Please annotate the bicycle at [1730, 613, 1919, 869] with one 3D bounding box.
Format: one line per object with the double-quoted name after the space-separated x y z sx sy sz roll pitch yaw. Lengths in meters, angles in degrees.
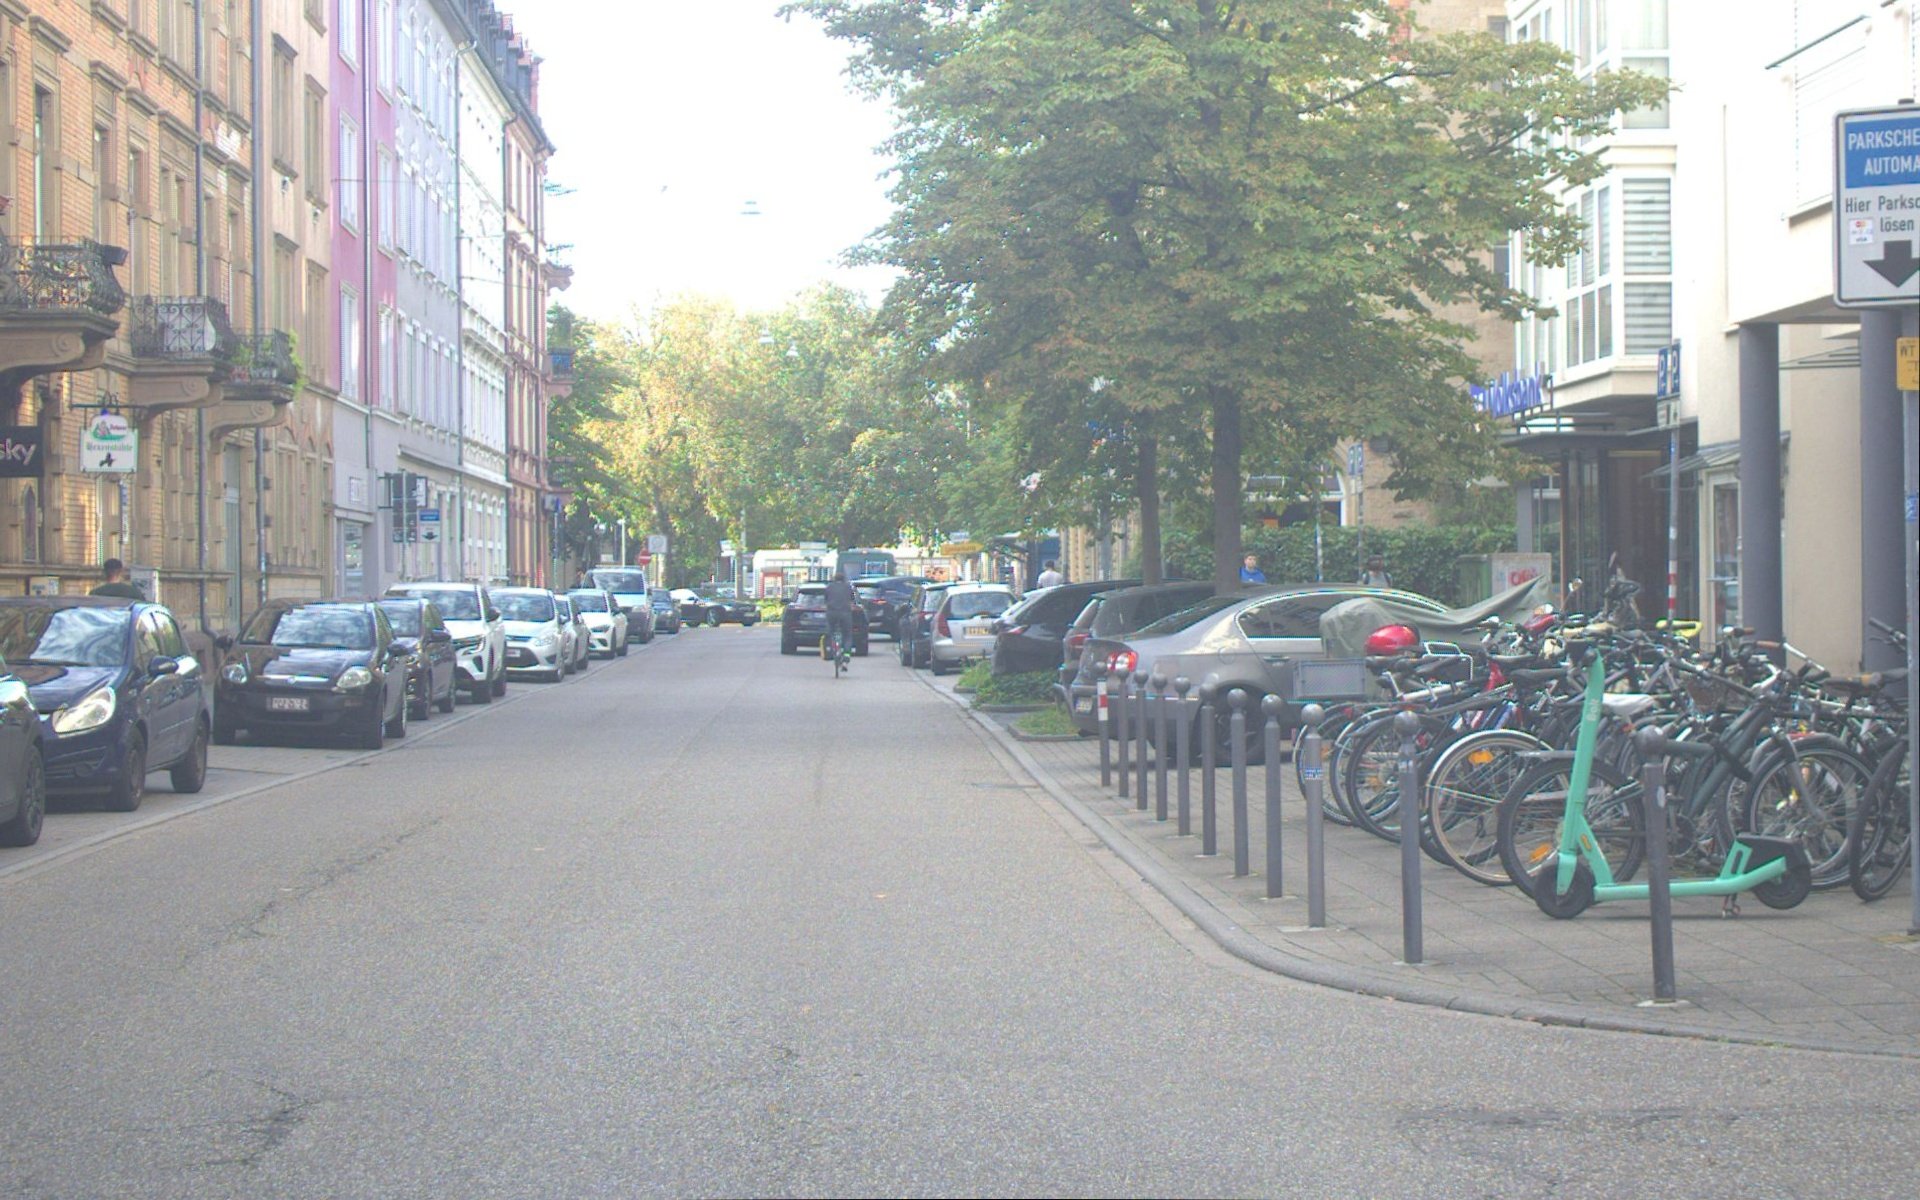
4.458 0.646 16.257 1.495 1.142 0.411 -3 1 -2 "bicycle"

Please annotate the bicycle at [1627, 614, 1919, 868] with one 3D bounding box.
4.198 0.671 16.789 1.765 1.142 0.411 -3 1 -7 "bicycle"

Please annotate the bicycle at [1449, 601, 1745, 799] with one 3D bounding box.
4.030 0.626 21.798 1.732 1.155 0.500 -3 1 0 "bicycle"

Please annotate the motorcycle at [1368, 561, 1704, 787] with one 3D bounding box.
3.951 0.501 23.705 2.150 1.430 0.765 -3 1 3 "motorcycle"

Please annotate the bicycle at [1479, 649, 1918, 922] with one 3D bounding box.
3.170 0.785 14.793 1.765 1.053 0.411 -3 1 -7 "bicycle"

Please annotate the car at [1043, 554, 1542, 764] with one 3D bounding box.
2.756 0.484 28.843 3.759 1.541 1.731 -2 0 -12 "car"

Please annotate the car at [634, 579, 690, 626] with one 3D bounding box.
-10.148 0.066 117.137 1.587 1.534 3.753 1 1 0 "car"

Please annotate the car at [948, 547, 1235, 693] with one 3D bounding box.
1.889 0.269 49.561 3.987 1.678 1.737 -3 8 2 "car"

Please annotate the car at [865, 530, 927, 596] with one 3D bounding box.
-2.012 -1.177 107.834 1.782 2.013 3.888 1 1 -3 "car"

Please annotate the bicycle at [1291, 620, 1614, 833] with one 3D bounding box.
2.904 0.740 20.364 1.794 1.155 0.500 -3 1 1 "bicycle"

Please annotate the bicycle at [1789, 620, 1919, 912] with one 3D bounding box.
4.463 0.656 14.426 1.765 1.158 0.650 -3 1 0 "bicycle"

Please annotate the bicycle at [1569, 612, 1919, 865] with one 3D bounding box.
3.956 0.679 17.285 1.765 1.142 0.411 -3 1 -22 "bicycle"

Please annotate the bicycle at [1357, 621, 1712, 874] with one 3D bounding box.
2.902 0.724 17.320 1.765 1.142 0.411 -3 1 -22 "bicycle"

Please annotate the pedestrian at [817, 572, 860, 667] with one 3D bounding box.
-2.110 0.332 60.015 0.718 1.644 0.930 1 1 -1 "pedestrian"

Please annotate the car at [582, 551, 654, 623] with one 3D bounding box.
-9.029 -0.343 90.984 1.690 1.815 3.867 1 0 -3 "car"

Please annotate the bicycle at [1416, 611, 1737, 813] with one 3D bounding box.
3.723 0.682 20.795 1.796 1.155 0.499 -2 1 24 "bicycle"

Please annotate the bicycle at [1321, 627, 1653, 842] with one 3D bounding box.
2.969 0.753 19.432 1.765 1.115 0.411 -3 1 1 "bicycle"

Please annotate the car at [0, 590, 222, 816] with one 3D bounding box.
-6.464 0.676 24.548 1.690 1.432 3.867 0 1 -2 "car"

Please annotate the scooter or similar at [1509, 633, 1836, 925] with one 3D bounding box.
2.930 0.736 14.172 1.207 1.143 0.378 -2 2 30 "scooter or similar"

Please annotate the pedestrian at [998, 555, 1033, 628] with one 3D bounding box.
1.679 -0.263 104.747 0.995 2.222 0.898 1 1 -1 "pedestrian"

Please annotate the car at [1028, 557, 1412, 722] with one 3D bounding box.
2.801 0.410 37.402 3.987 1.578 2.000 -2 0 3 "car"

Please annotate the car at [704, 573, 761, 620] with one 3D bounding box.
-7.994 -0.136 121.078 1.855 1.615 4.000 1 1 -1 "car"

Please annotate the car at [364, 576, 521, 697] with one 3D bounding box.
-7.067 0.472 47.231 1.690 1.545 3.867 1 1 -2 "car"

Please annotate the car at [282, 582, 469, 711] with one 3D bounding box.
-7.101 0.537 42.104 1.690 1.365 3.867 4 1 -2 "car"

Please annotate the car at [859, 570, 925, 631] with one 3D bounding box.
-1.802 -0.007 90.380 1.587 1.534 3.753 1 1 -3 "car"

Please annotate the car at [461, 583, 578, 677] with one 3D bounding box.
-7.603 0.499 59.573 1.690 1.545 3.867 1 0 -3 "car"

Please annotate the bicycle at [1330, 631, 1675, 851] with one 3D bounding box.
2.938 0.762 18.686 1.765 1.096 0.411 -3 1 1 "bicycle"

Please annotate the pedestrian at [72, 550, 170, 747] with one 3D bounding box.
-7.999 0.452 32.802 0.689 1.847 0.931 1 1 -1 "pedestrian"

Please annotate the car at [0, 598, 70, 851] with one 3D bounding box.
-6.159 0.703 18.836 1.690 1.382 3.867 0 1 -2 "car"

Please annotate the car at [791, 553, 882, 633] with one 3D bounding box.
-2.781 -0.150 77.019 1.964 1.735 4.041 0 0 -2 "car"

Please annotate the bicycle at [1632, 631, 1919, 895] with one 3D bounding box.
3.988 0.710 15.460 1.765 1.083 0.650 -3 1 0 "bicycle"

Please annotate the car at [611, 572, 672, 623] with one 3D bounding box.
-9.801 -0.081 106.060 1.690 1.545 3.867 1 0 -3 "car"

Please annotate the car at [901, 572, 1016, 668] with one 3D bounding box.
-0.064 0.340 61.956 1.930 1.632 4.000 1 1 -2 "car"

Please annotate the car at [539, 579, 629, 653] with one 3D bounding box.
-8.121 0.330 74.537 1.690 1.545 3.867 1 0 -3 "car"

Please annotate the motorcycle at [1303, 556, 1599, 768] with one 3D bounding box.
3.792 0.475 26.680 2.150 1.525 0.686 -3 1 3 "motorcycle"

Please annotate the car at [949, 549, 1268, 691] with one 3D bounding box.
1.933 0.245 44.731 3.987 1.634 2.000 -2 0 3 "car"

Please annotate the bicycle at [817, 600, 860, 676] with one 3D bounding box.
-2.117 0.660 60.020 0.718 1.270 1.884 1 1 -1 "bicycle"

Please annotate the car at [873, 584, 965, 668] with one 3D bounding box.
-0.814 0.482 66.334 1.690 1.545 3.688 1 0 -1 "car"

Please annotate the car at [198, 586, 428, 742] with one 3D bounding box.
-6.569 0.617 35.238 1.690 1.365 3.867 4 1 -2 "car"

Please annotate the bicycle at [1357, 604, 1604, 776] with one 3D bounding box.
3.782 0.650 25.032 1.664 1.155 0.557 -3 1 0 "bicycle"

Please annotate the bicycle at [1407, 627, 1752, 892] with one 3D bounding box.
2.906 0.738 16.168 1.495 1.142 0.411 -3 1 -7 "bicycle"
